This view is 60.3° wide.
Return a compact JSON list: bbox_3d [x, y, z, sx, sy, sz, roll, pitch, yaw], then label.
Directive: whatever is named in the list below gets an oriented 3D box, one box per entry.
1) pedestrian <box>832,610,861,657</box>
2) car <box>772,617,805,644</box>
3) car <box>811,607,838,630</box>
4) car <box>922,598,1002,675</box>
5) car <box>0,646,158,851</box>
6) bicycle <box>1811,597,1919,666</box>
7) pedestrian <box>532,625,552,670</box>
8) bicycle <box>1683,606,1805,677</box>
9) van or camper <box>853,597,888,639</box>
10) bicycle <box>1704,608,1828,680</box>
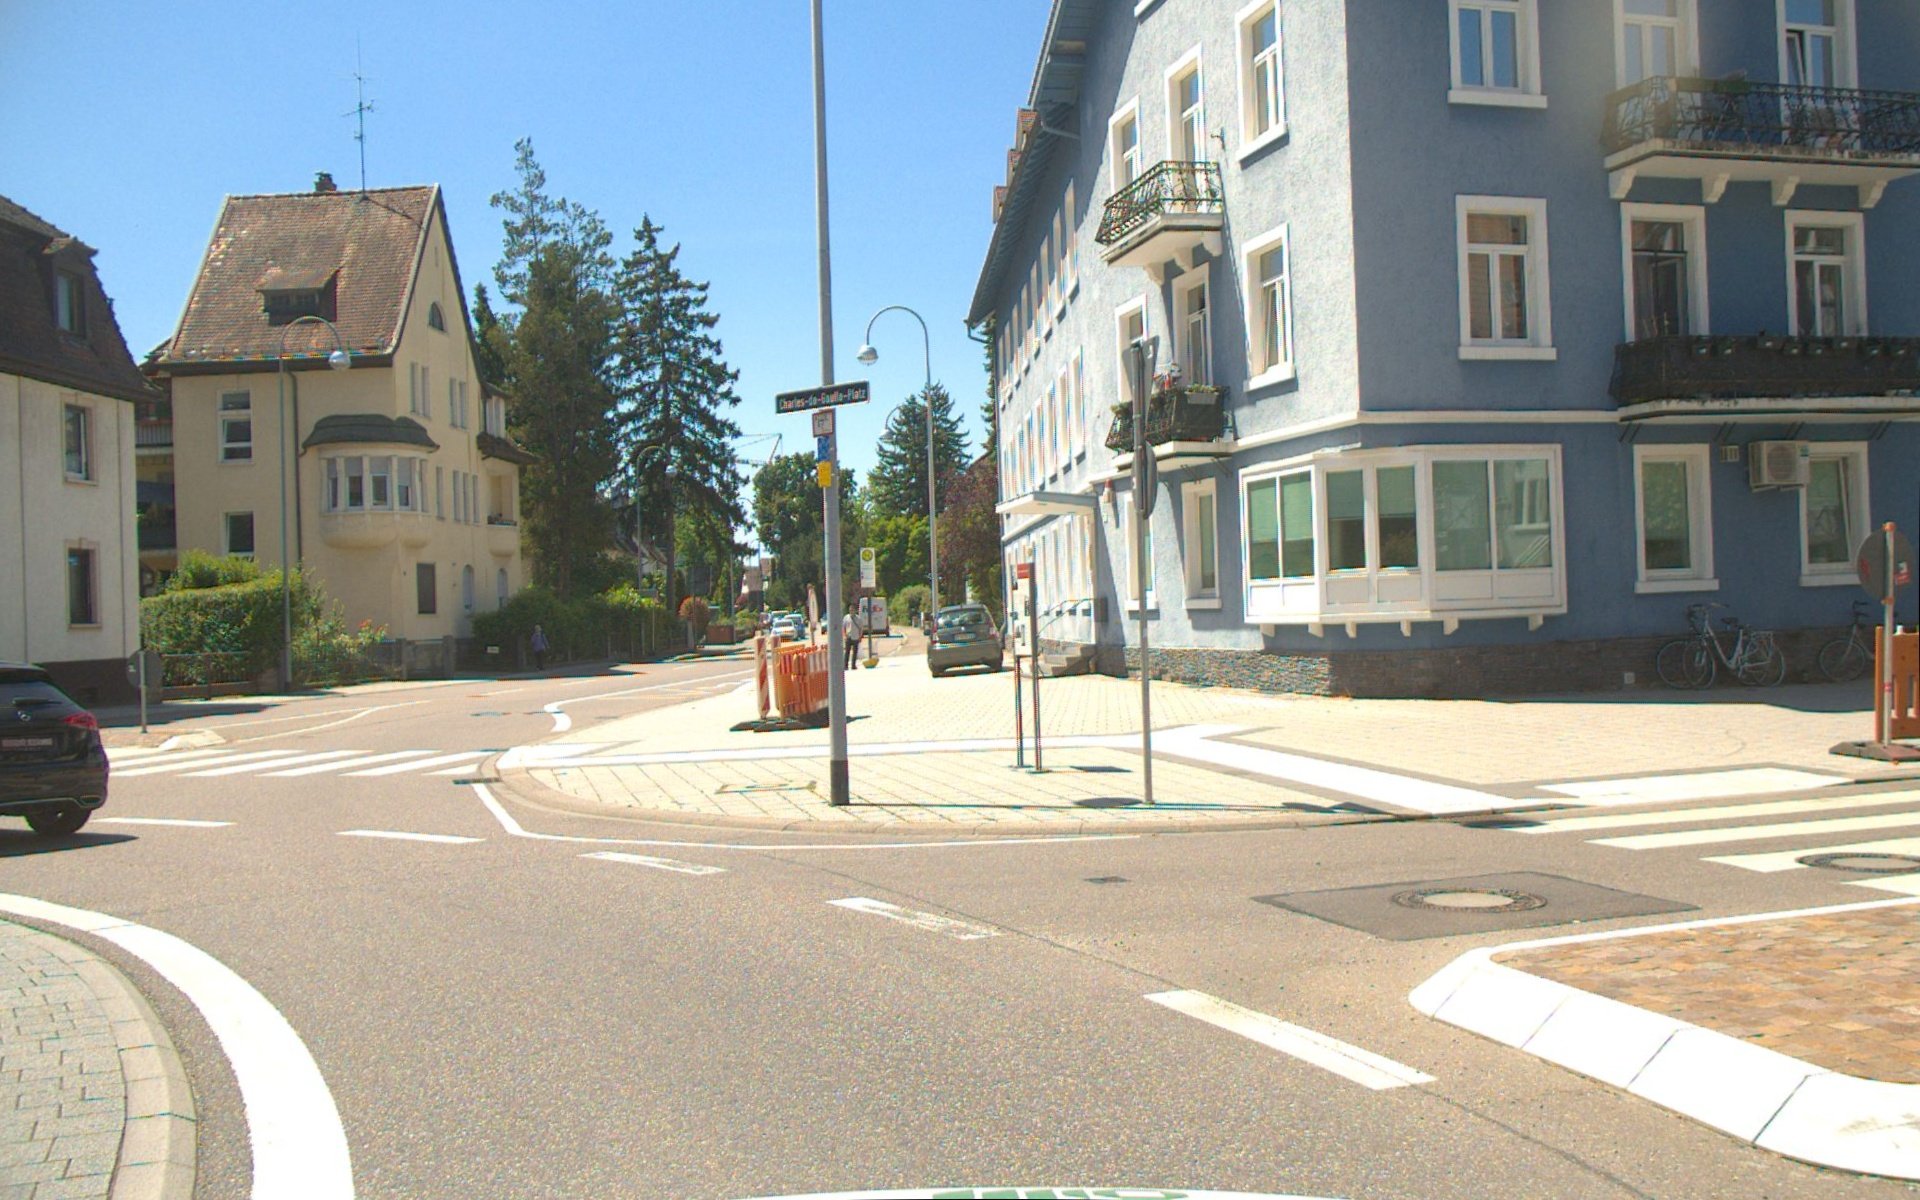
[{"bbox_3d":[-3.321,0.980,48.525,0.652,1.308,0.587,-5,0,6],"label":"pedestrian"},{"bbox_3d":[-11.519,2.052,111.322,1.954,1.680,3.997,-2,-1,-3],"label":"car"},{"bbox_3d":[-11.032,1.485,134.663,1.953,1.747,3.998,-2,-1,-2],"label":"car"},{"bbox_3d":[-0.001,0.796,38.027,1.607,1.533,3.562,-5,0,-2],"label":"car"},{"bbox_3d":[-8.475,1.131,12.886,3.906,1.452,1.959,-2,-2,24],"label":"car"},{"bbox_3d":[13.177,0.449,23.909,1.679,0.922,0.479,-2,1,-16],"label":"bicycle"},{"bbox_3d":[-14.533,1.643,57.501,0.512,1.535,0.473,-2,-1,4],"label":"pedestrian"},{"bbox_3d":[11.085,0.575,23.384,1.679,0.922,0.438,-2,1,-16],"label":"bicycle"},{"bbox_3d":[-5.850,1.171,108.255,2.162,2.656,3.997,-2,-1,-3],"label":"van or camper"},{"bbox_3d":[11.172,0.601,22.932,1.679,0.922,0.438,-2,1,-16],"label":"bicycle"}]
